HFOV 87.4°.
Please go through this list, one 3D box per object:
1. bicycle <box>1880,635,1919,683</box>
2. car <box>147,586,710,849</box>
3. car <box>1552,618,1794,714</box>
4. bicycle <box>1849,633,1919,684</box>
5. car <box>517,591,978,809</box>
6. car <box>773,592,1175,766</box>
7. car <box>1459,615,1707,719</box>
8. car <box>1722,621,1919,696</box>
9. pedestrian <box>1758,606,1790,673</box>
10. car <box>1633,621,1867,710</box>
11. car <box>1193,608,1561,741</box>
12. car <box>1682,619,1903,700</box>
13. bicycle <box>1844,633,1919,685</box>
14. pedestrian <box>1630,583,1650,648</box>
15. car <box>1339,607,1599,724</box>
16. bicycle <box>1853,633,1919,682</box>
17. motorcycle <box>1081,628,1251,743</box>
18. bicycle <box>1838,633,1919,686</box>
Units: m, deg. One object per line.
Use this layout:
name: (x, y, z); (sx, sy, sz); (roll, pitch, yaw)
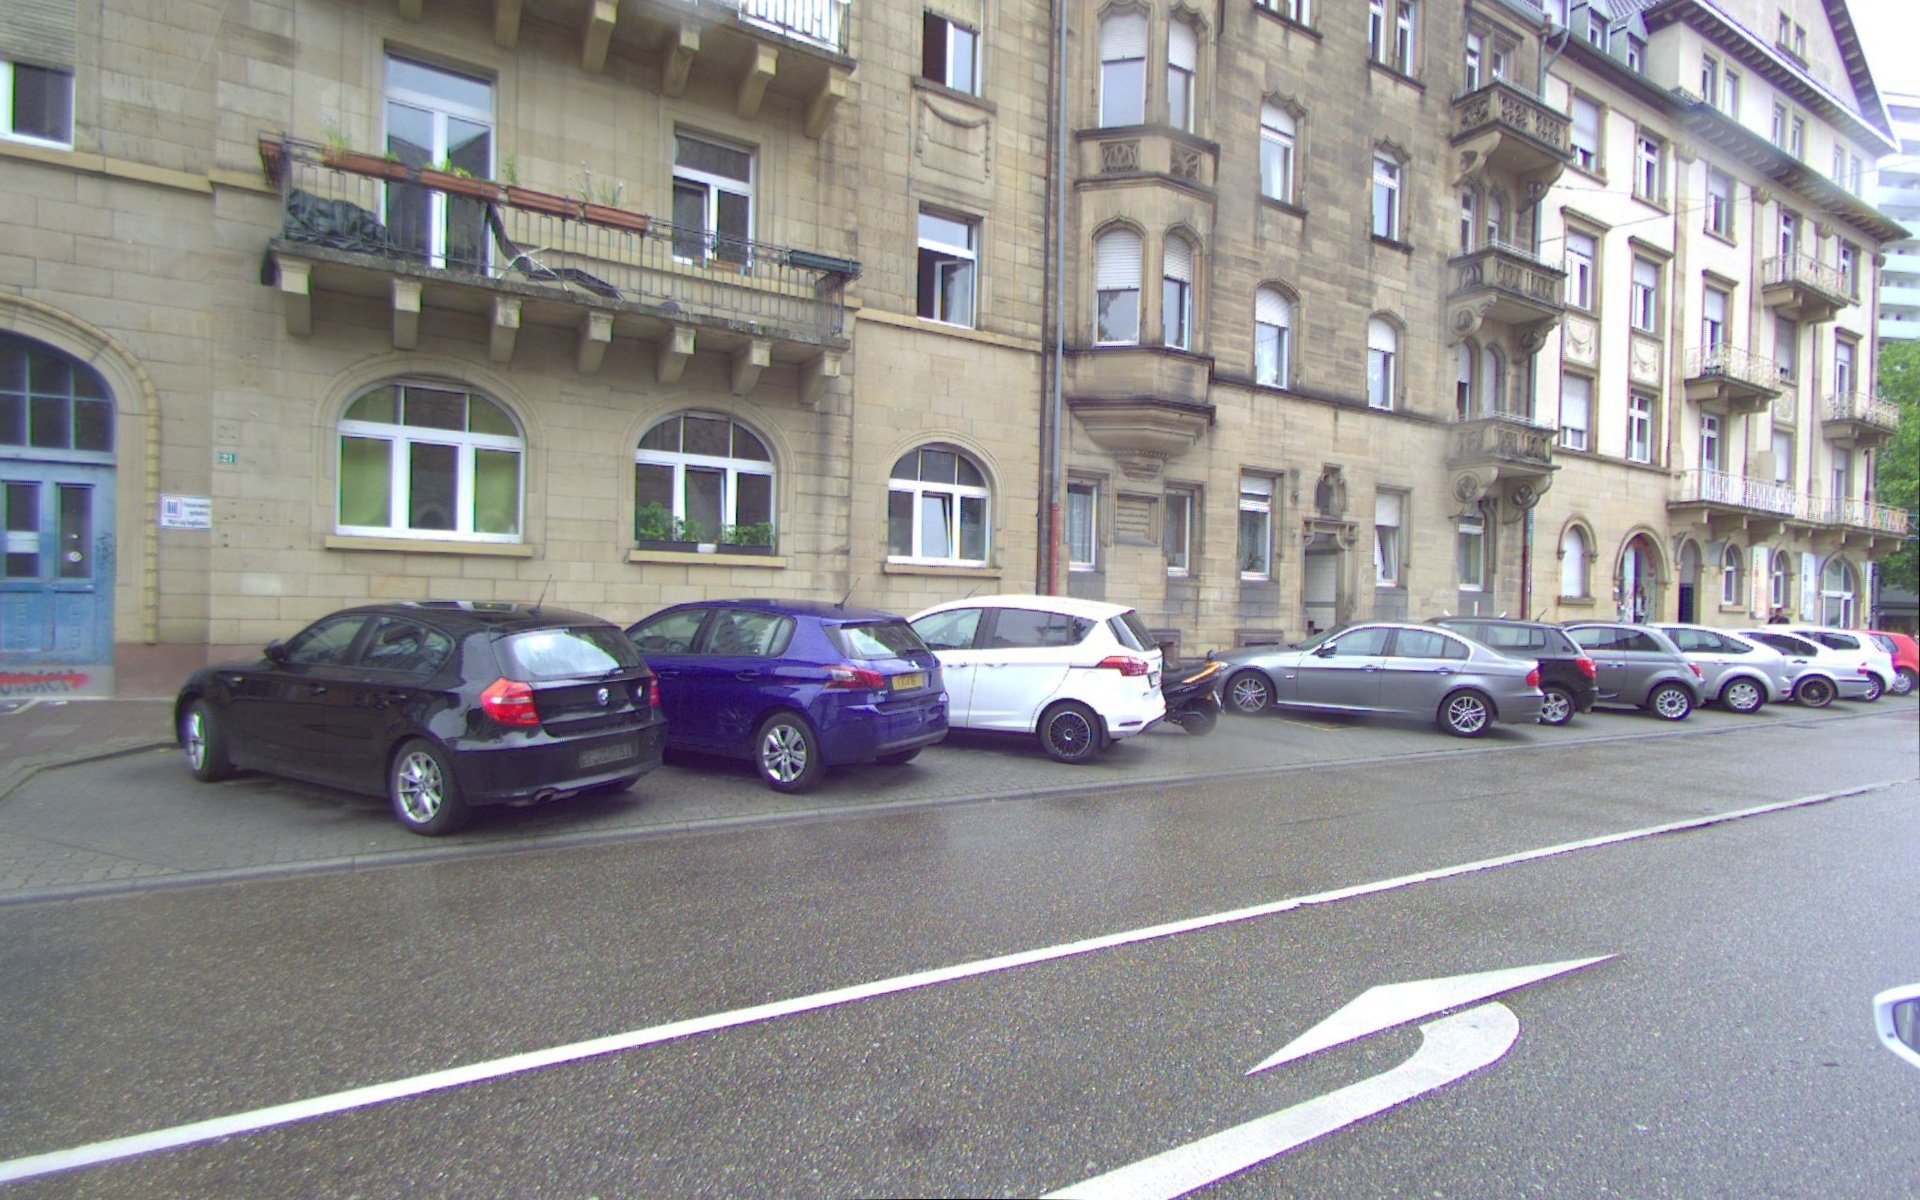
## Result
bicycle: (26.325, 1.612, 27.363); (0.601, 1.283, 1.754); (1, -1, -31)
car: (-4.048, 0.697, 7.602); (3.969, 1.532, 1.796); (1, -1, 27)
car: (13.156, 1.169, 18.773); (3.337, 1.578, 1.705); (1, 0, 21)
bicycle: (24.666, 1.541, 26.471); (0.492, 1.283, 1.801); (1, -1, -31)
car: (-2.008, 0.751, 9.216); (3.972, 1.594, 1.795); (1, -1, 31)
car: (0.191, 0.748, 10.850); (3.964, 1.576, 1.799); (1, -1, 20)
car: (10.555, 1.085, 17.294); (3.337, 1.578, 1.652); (1, 0, 21)
car: (20.412, 1.341, 23.834); (3.337, 1.578, 1.705); (1, 0, 21)
pedestrian: (25.186, 1.207, 31.072); (0.647, 2.040, 0.565); (1, 0, -30)
car: (15.864, 1.263, 20.372); (3.337, 1.578, 1.705); (1, 0, 21)
car: (5.601, 0.949, 13.992); (4.457, 1.565, 1.689); (1, 0, 17)
car: (18.143, 1.253, 22.086); (3.337, 1.578, 1.705); (1, 0, 21)
bicycle: (24.149, 1.518, 26.012); (0.492, 1.283, 1.801); (1, -1, -31)
pedestrian: (19.339, 0.441, 28.573); (0.343, 1.846, 0.364); (2, -1, -32)
car: (7.861, 0.966, 15.865); (3.484, 1.619, 1.605); (1, 0, 21)
bicycle: (25.426, 1.548, 27.197); (0.601, 1.283, 1.754); (1, -1, -31)
motorcycle: (2.449, 0.983, 11.988); (1.837, 1.177, 0.633); (3, 1, 23)
bicycle: (23.694, 1.514, 25.719); (0.516, 1.283, 1.754); (1, -1, -31)
